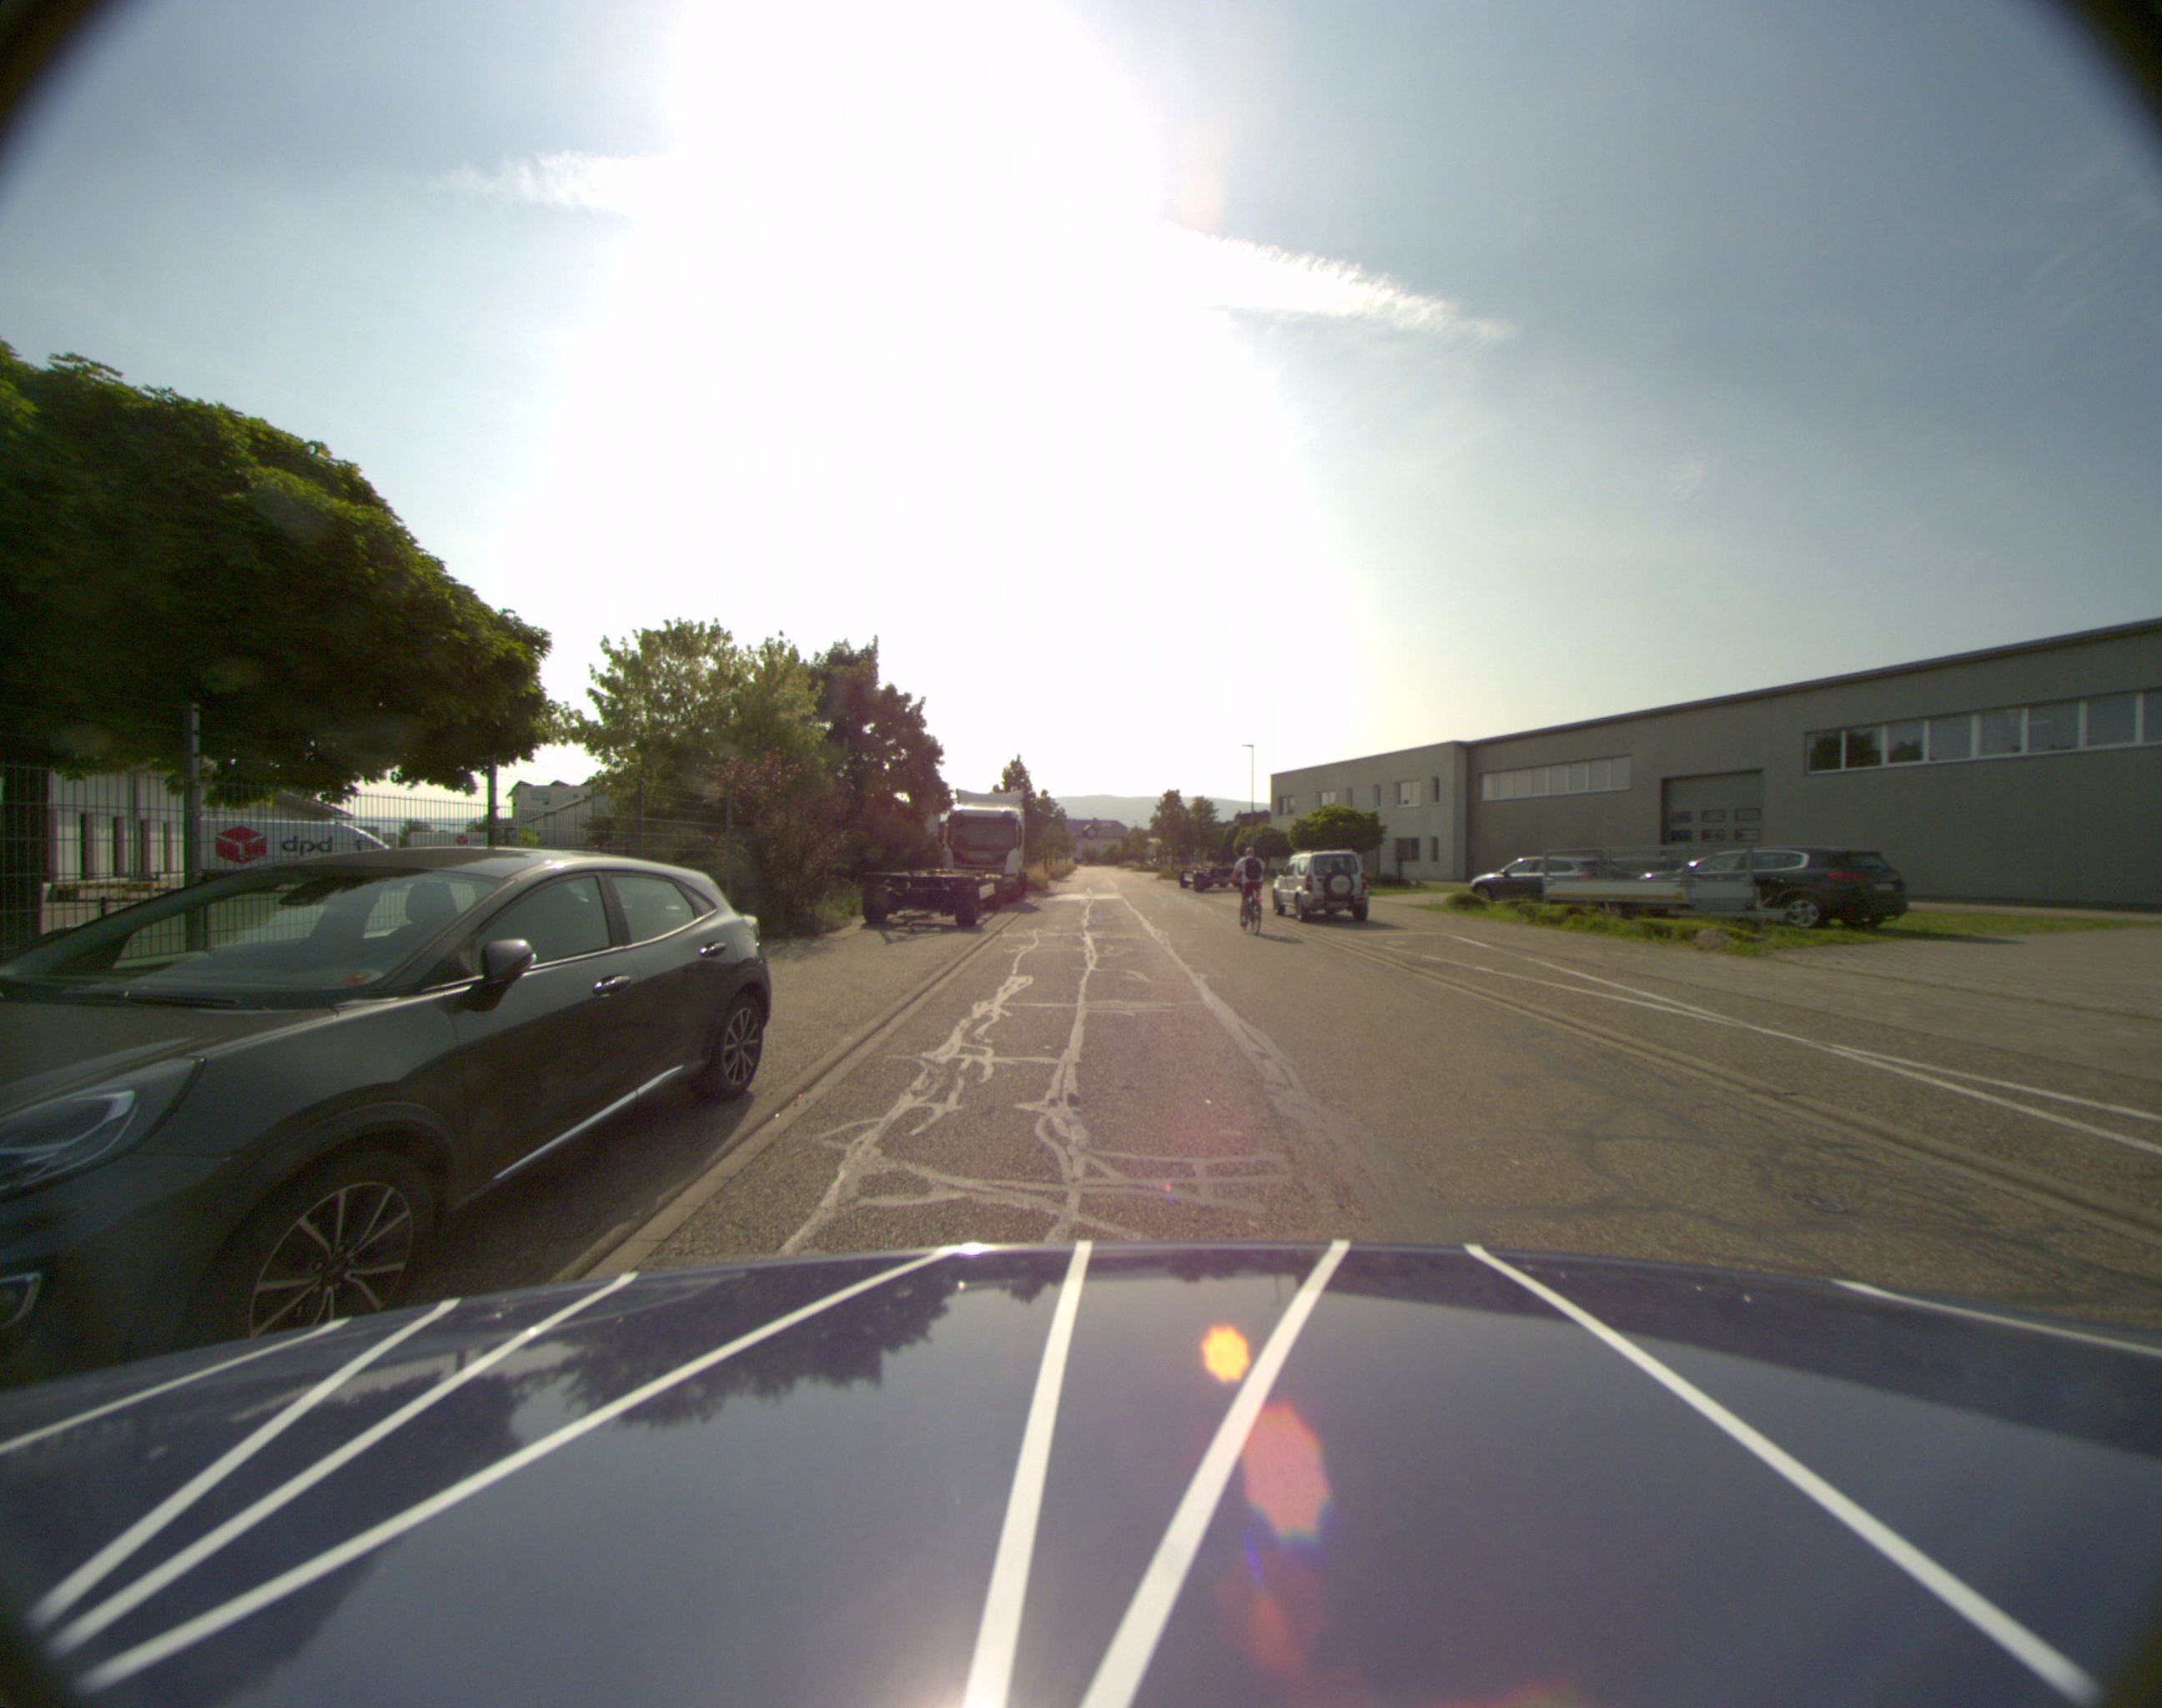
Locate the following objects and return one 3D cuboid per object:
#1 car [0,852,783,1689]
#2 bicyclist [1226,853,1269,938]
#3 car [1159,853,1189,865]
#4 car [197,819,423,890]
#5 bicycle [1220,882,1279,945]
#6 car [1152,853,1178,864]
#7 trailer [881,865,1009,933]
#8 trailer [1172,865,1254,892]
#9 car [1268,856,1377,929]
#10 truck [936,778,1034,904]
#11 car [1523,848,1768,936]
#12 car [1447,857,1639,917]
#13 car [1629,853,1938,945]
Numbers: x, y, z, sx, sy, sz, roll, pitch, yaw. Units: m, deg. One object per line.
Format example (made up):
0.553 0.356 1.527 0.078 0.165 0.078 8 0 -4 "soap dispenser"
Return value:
-3.040 0.826 3.172 1.885 1.565 4.113 2 1 1 "car"
3.460 0.837 15.879 0.641 1.709 1.165 0 0 1 "bicyclist"
13.289 0.768 108.620 3.996 1.718 2.000 0 0 1 "car"
-30.966 0.012 30.938 6.286 2.633 2.206 0 0 -40 "car"
3.472 1.192 15.847 0.717 1.115 2.219 3 0 1 "bicycle"
14.443 0.805 131.436 4.004 1.783 1.996 0 0 -21 "car"
-3.175 0.989 19.505 1.943 1.228 7.450 2 0 0 "trailer"
6.450 1.160 38.601 2.552 1.068 9.732 -1 0 1 "trailer"
5.932 0.883 19.101 1.601 1.641 3.644 -1 0 1 "car"
-3.275 -0.417 27.412 2.699 3.941 6.047 2 0 -1 "truck"
11.646 0.694 16.016 1.840 1.563 3.811 -2 1 -16 "car"
12.732 0.821 21.332 1.983 1.468 4.415 0 0 -17 "car"
14.488 0.816 16.076 1.997 1.648 4.415 0 0 -17 "car"
